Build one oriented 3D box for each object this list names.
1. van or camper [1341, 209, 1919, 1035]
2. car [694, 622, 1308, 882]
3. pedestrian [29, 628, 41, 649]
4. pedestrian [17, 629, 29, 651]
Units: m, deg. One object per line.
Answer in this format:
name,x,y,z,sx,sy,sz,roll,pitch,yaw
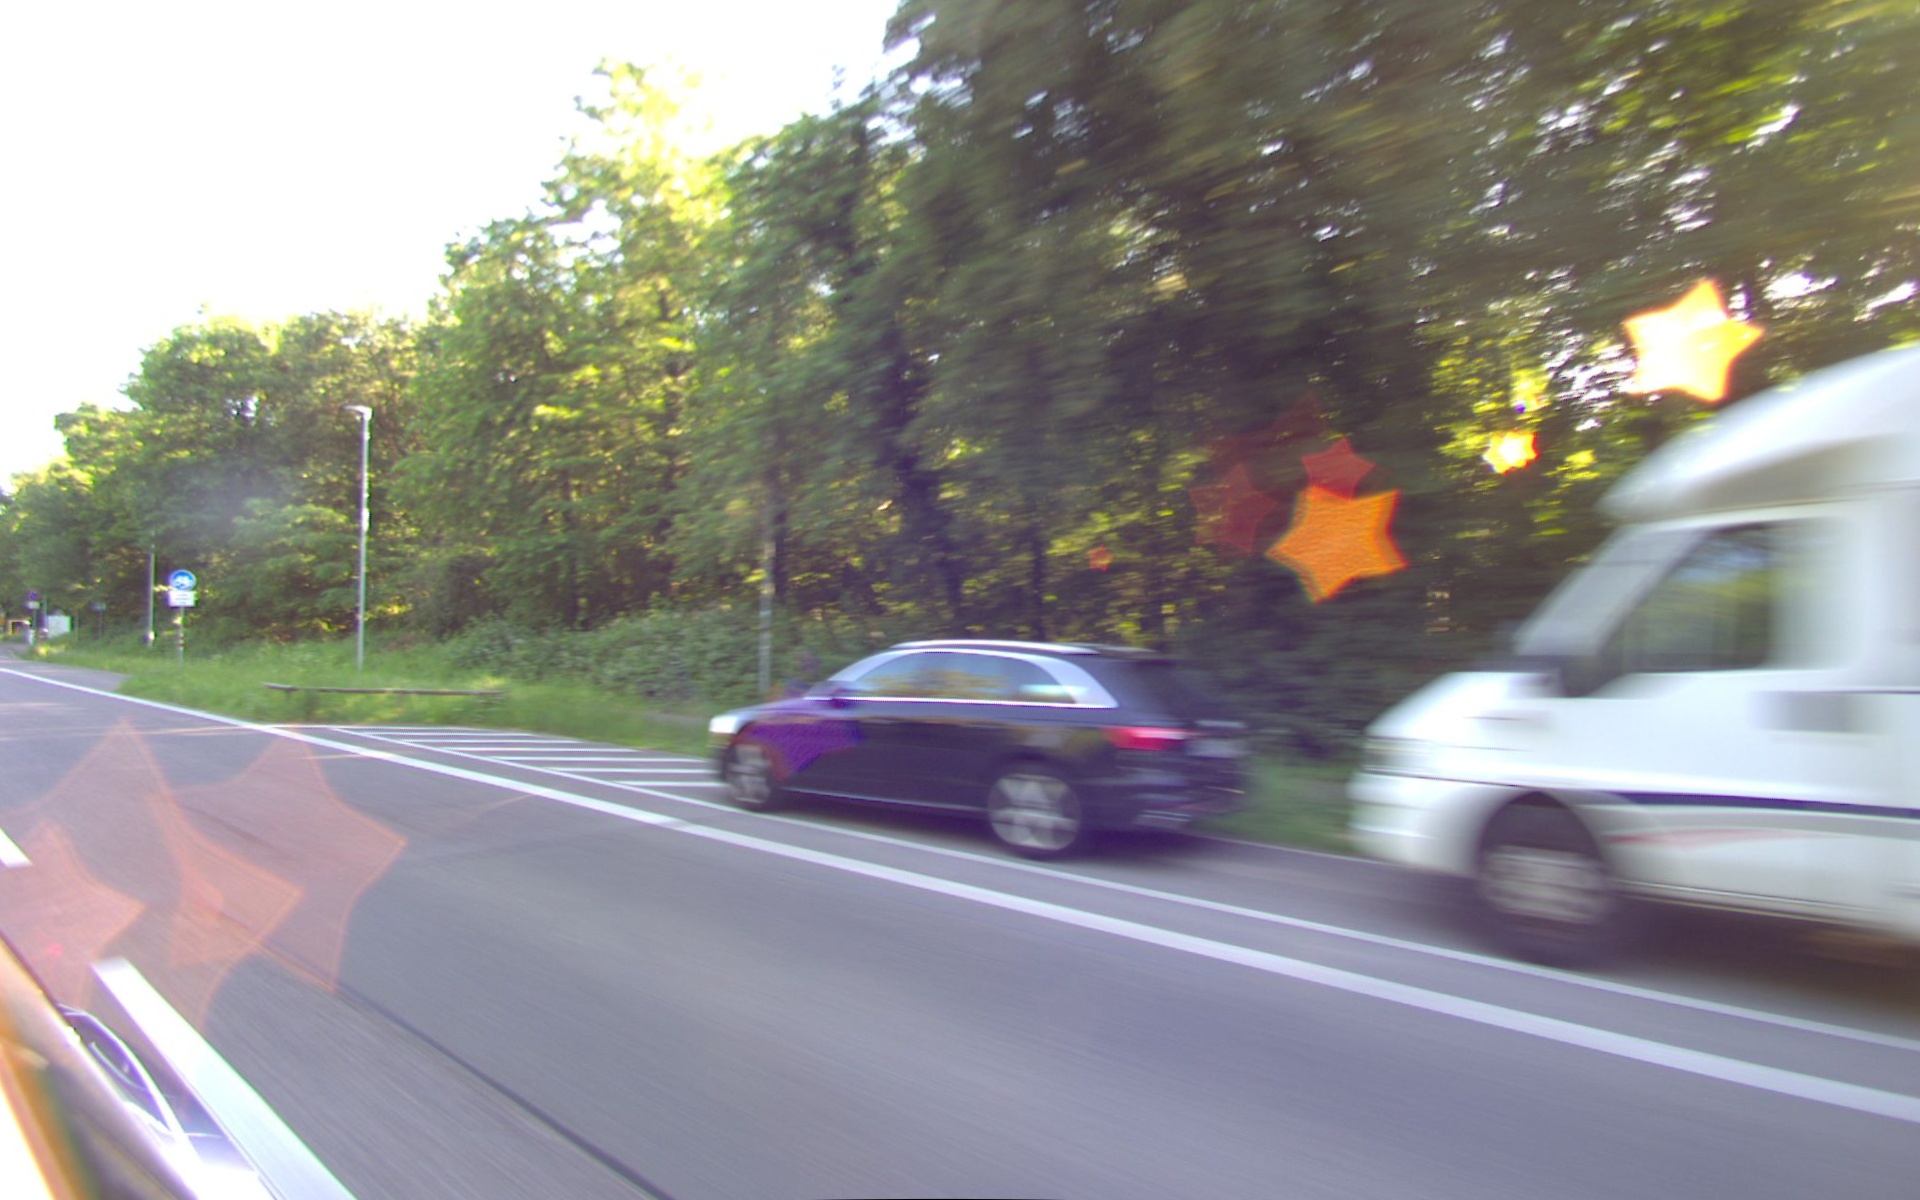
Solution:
van or camper,5.339,0.089,3.626,7.102,2.993,2.292,-1,-4,39
car,0.107,0.946,7.981,4.674,1.487,1.810,-1,-3,38
pedestrian,-73.692,3.097,80.621,0.667,1.666,0.790,1,-2,-45
pedestrian,-74.187,3.173,80.131,0.667,1.666,0.790,1,-2,-45
